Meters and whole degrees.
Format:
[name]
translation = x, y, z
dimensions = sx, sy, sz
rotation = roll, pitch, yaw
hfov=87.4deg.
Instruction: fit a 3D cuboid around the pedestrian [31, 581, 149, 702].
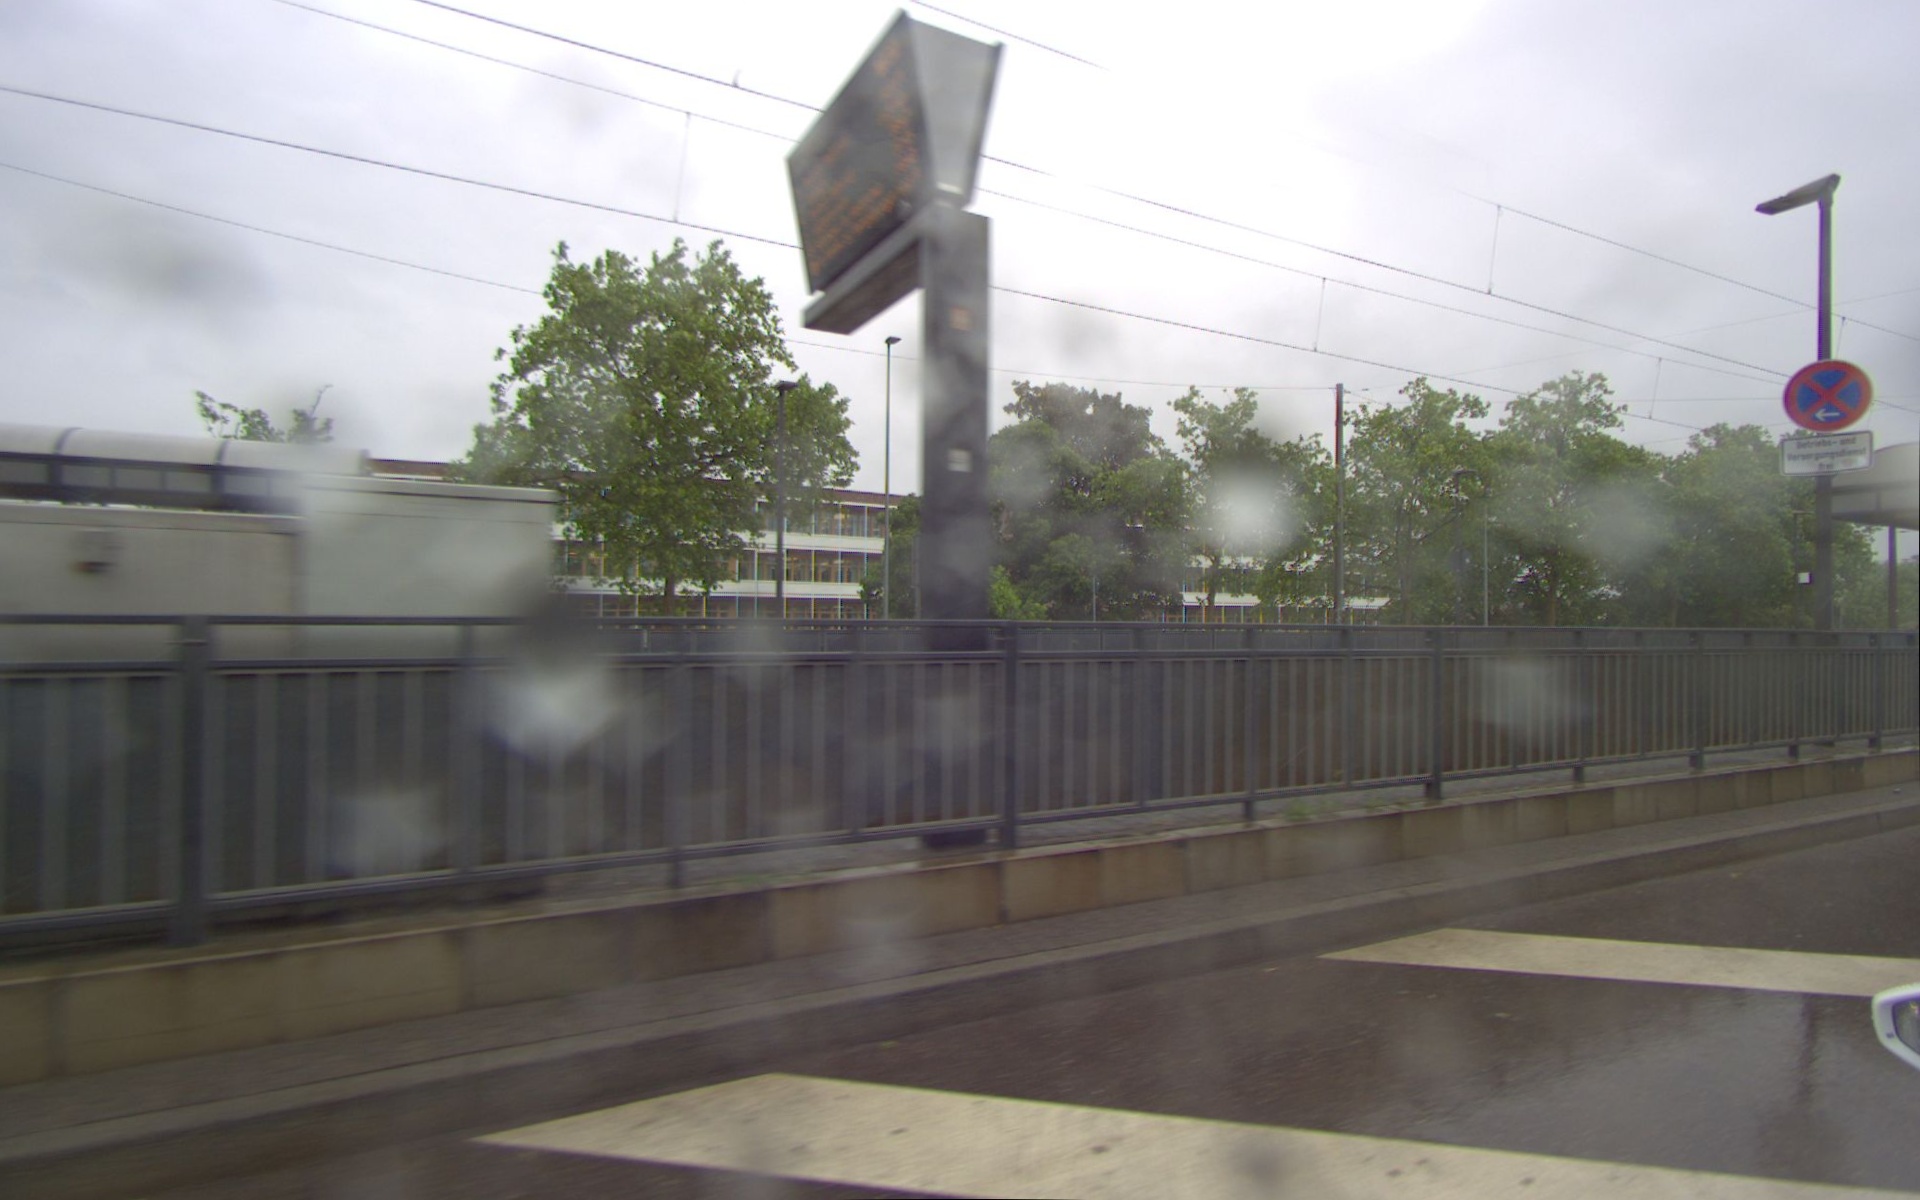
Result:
[pedestrian]
translation = -9.992, 0.457, 11.577
dimensions = 0.847, 1.334, 0.827
rotation = 1, 1, -28
